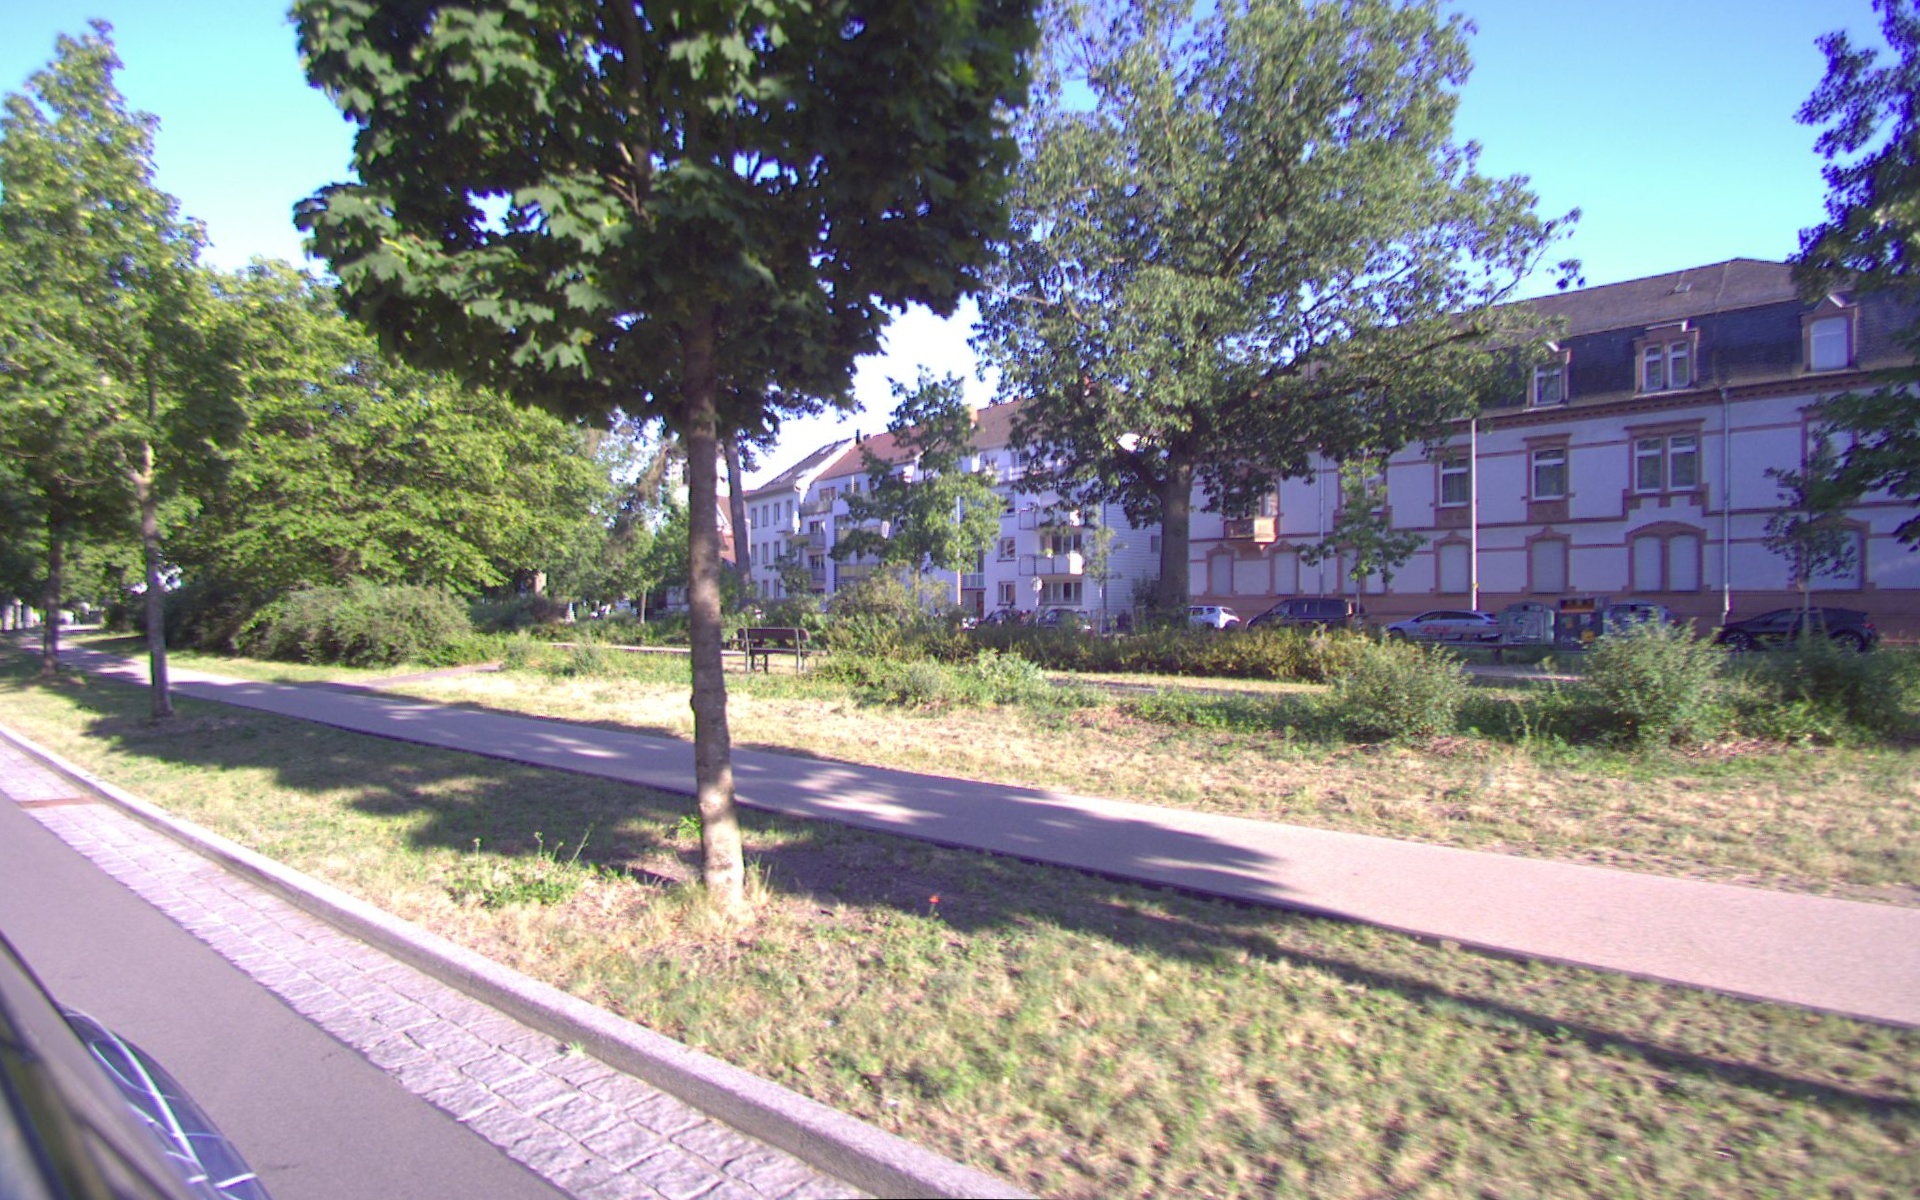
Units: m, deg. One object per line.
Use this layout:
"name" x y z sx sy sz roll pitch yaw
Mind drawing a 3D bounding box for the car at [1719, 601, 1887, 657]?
"car" 26.833 0.883 32.280 4.002 1.586 1.863 1 0 44

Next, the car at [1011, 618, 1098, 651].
"car" 5.038 1.813 54.495 1.862 1.586 4.605 1 0 -42

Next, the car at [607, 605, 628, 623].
"car" -42.988 1.722 126.948 1.858 2.142 4.614 1 0 -26

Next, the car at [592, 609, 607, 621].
"car" -51.561 2.098 144.630 1.858 1.586 4.614 1 0 -22

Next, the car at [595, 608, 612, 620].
"car" -48.878 1.927 138.657 1.858 1.586 4.614 1 0 -23

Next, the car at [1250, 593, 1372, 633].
"car" 15.004 0.533 43.485 1.862 1.586 4.605 1 0 -42

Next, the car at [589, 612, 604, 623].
"car" -57.248 2.770 159.365 1.858 1.586 4.614 1 0 -23

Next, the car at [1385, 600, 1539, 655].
"car" 19.271 1.014 39.012 1.862 1.907 4.982 1 0 -42

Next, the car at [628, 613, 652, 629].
"car" -35.314 2.317 111.497 1.858 1.586 4.614 1 0 -26

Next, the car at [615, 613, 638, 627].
"car" -39.227 2.330 118.984 1.858 1.586 4.614 1 0 -26
